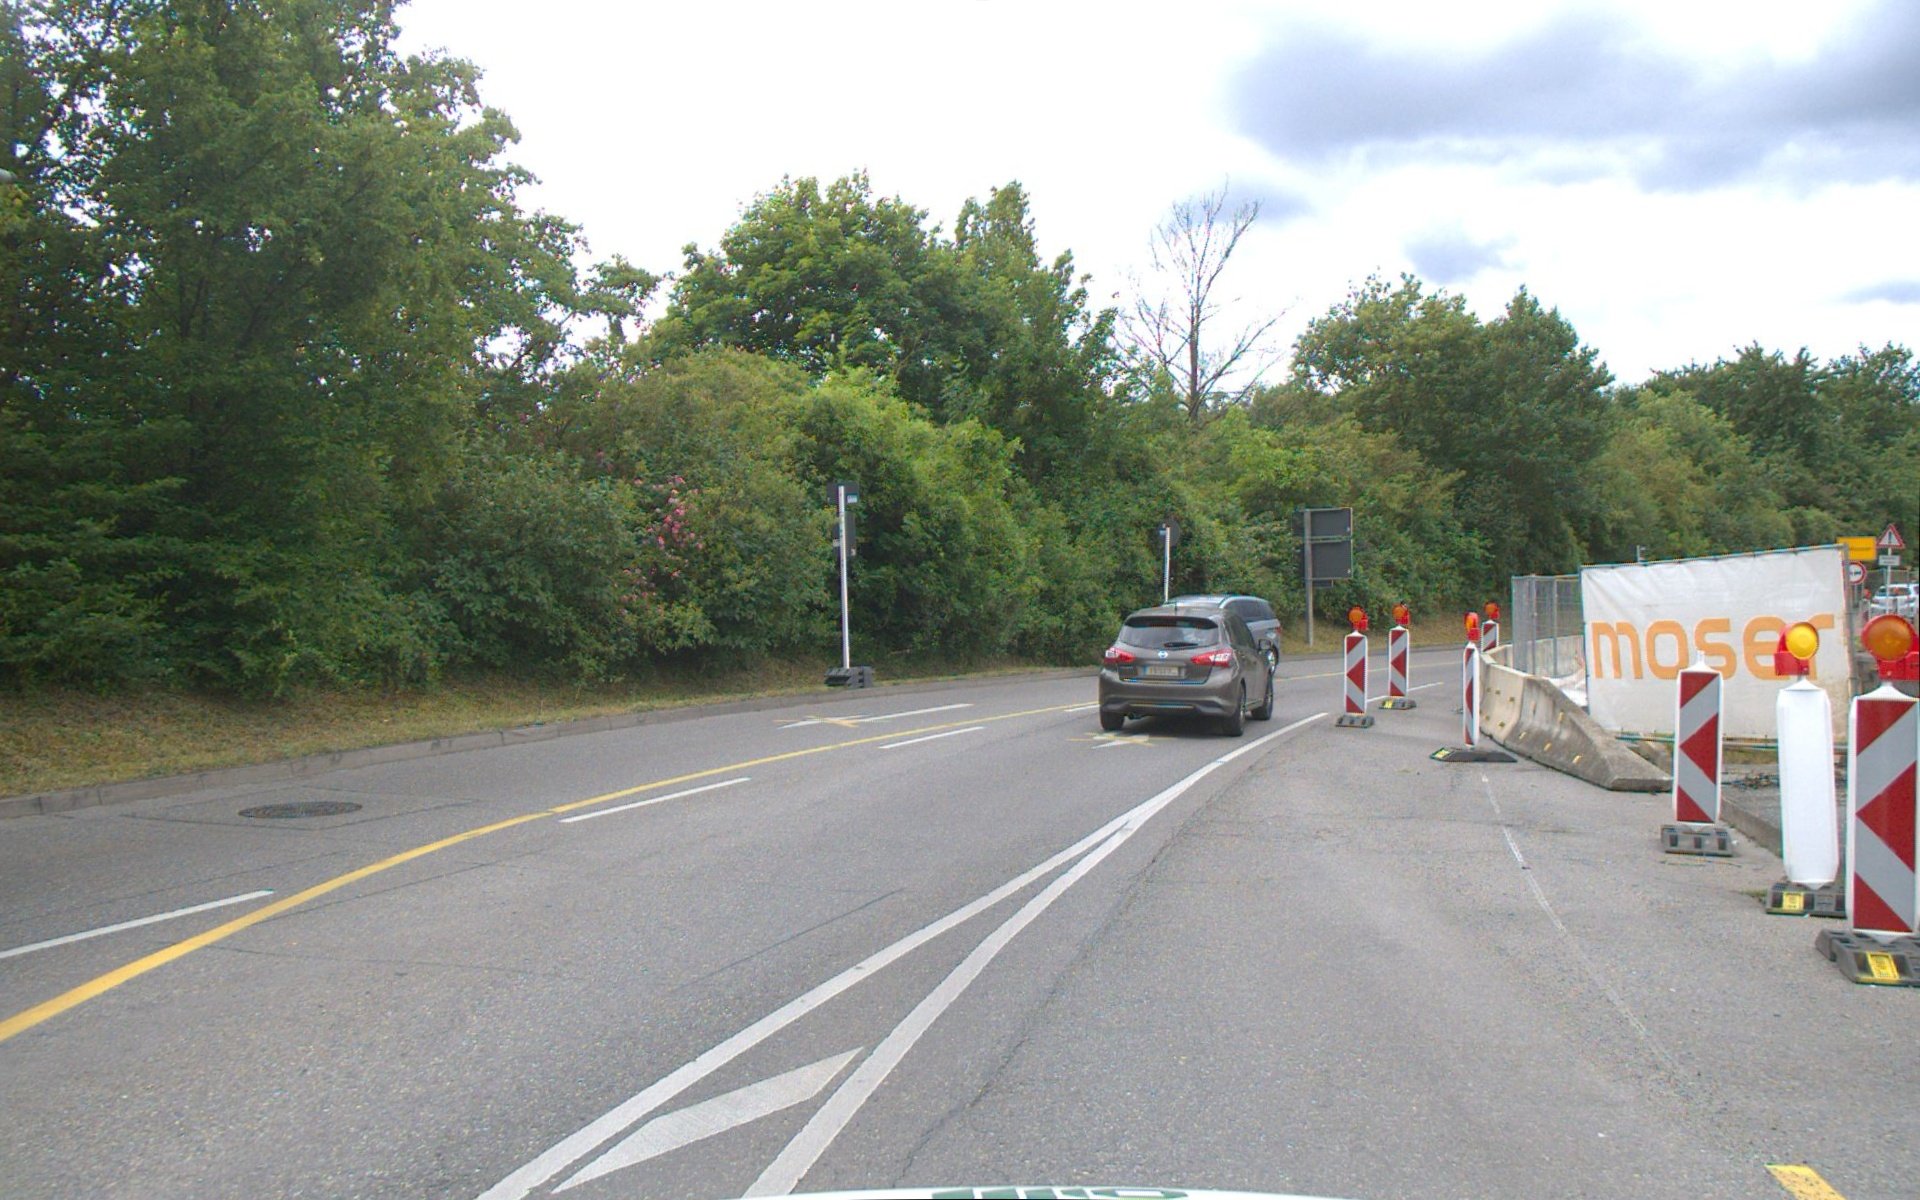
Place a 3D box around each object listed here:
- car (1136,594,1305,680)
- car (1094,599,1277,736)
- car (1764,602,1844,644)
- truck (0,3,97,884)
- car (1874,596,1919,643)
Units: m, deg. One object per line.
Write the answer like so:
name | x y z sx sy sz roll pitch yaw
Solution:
car | 5.154 0.694 32.227 1.604 1.572 4.337 0 -1 34
car | 3.018 0.785 21.441 1.760 1.579 4.002 1 0 16
car | 33.490 0.900 65.598 4.156 1.579 1.634 0 0 -45
truck | -6.915 -0.768 4.149 3.044 4.295 9.801 -1 0 10
car | 36.327 0.741 63.464 1.683 1.704 3.984 -3 -2 36
